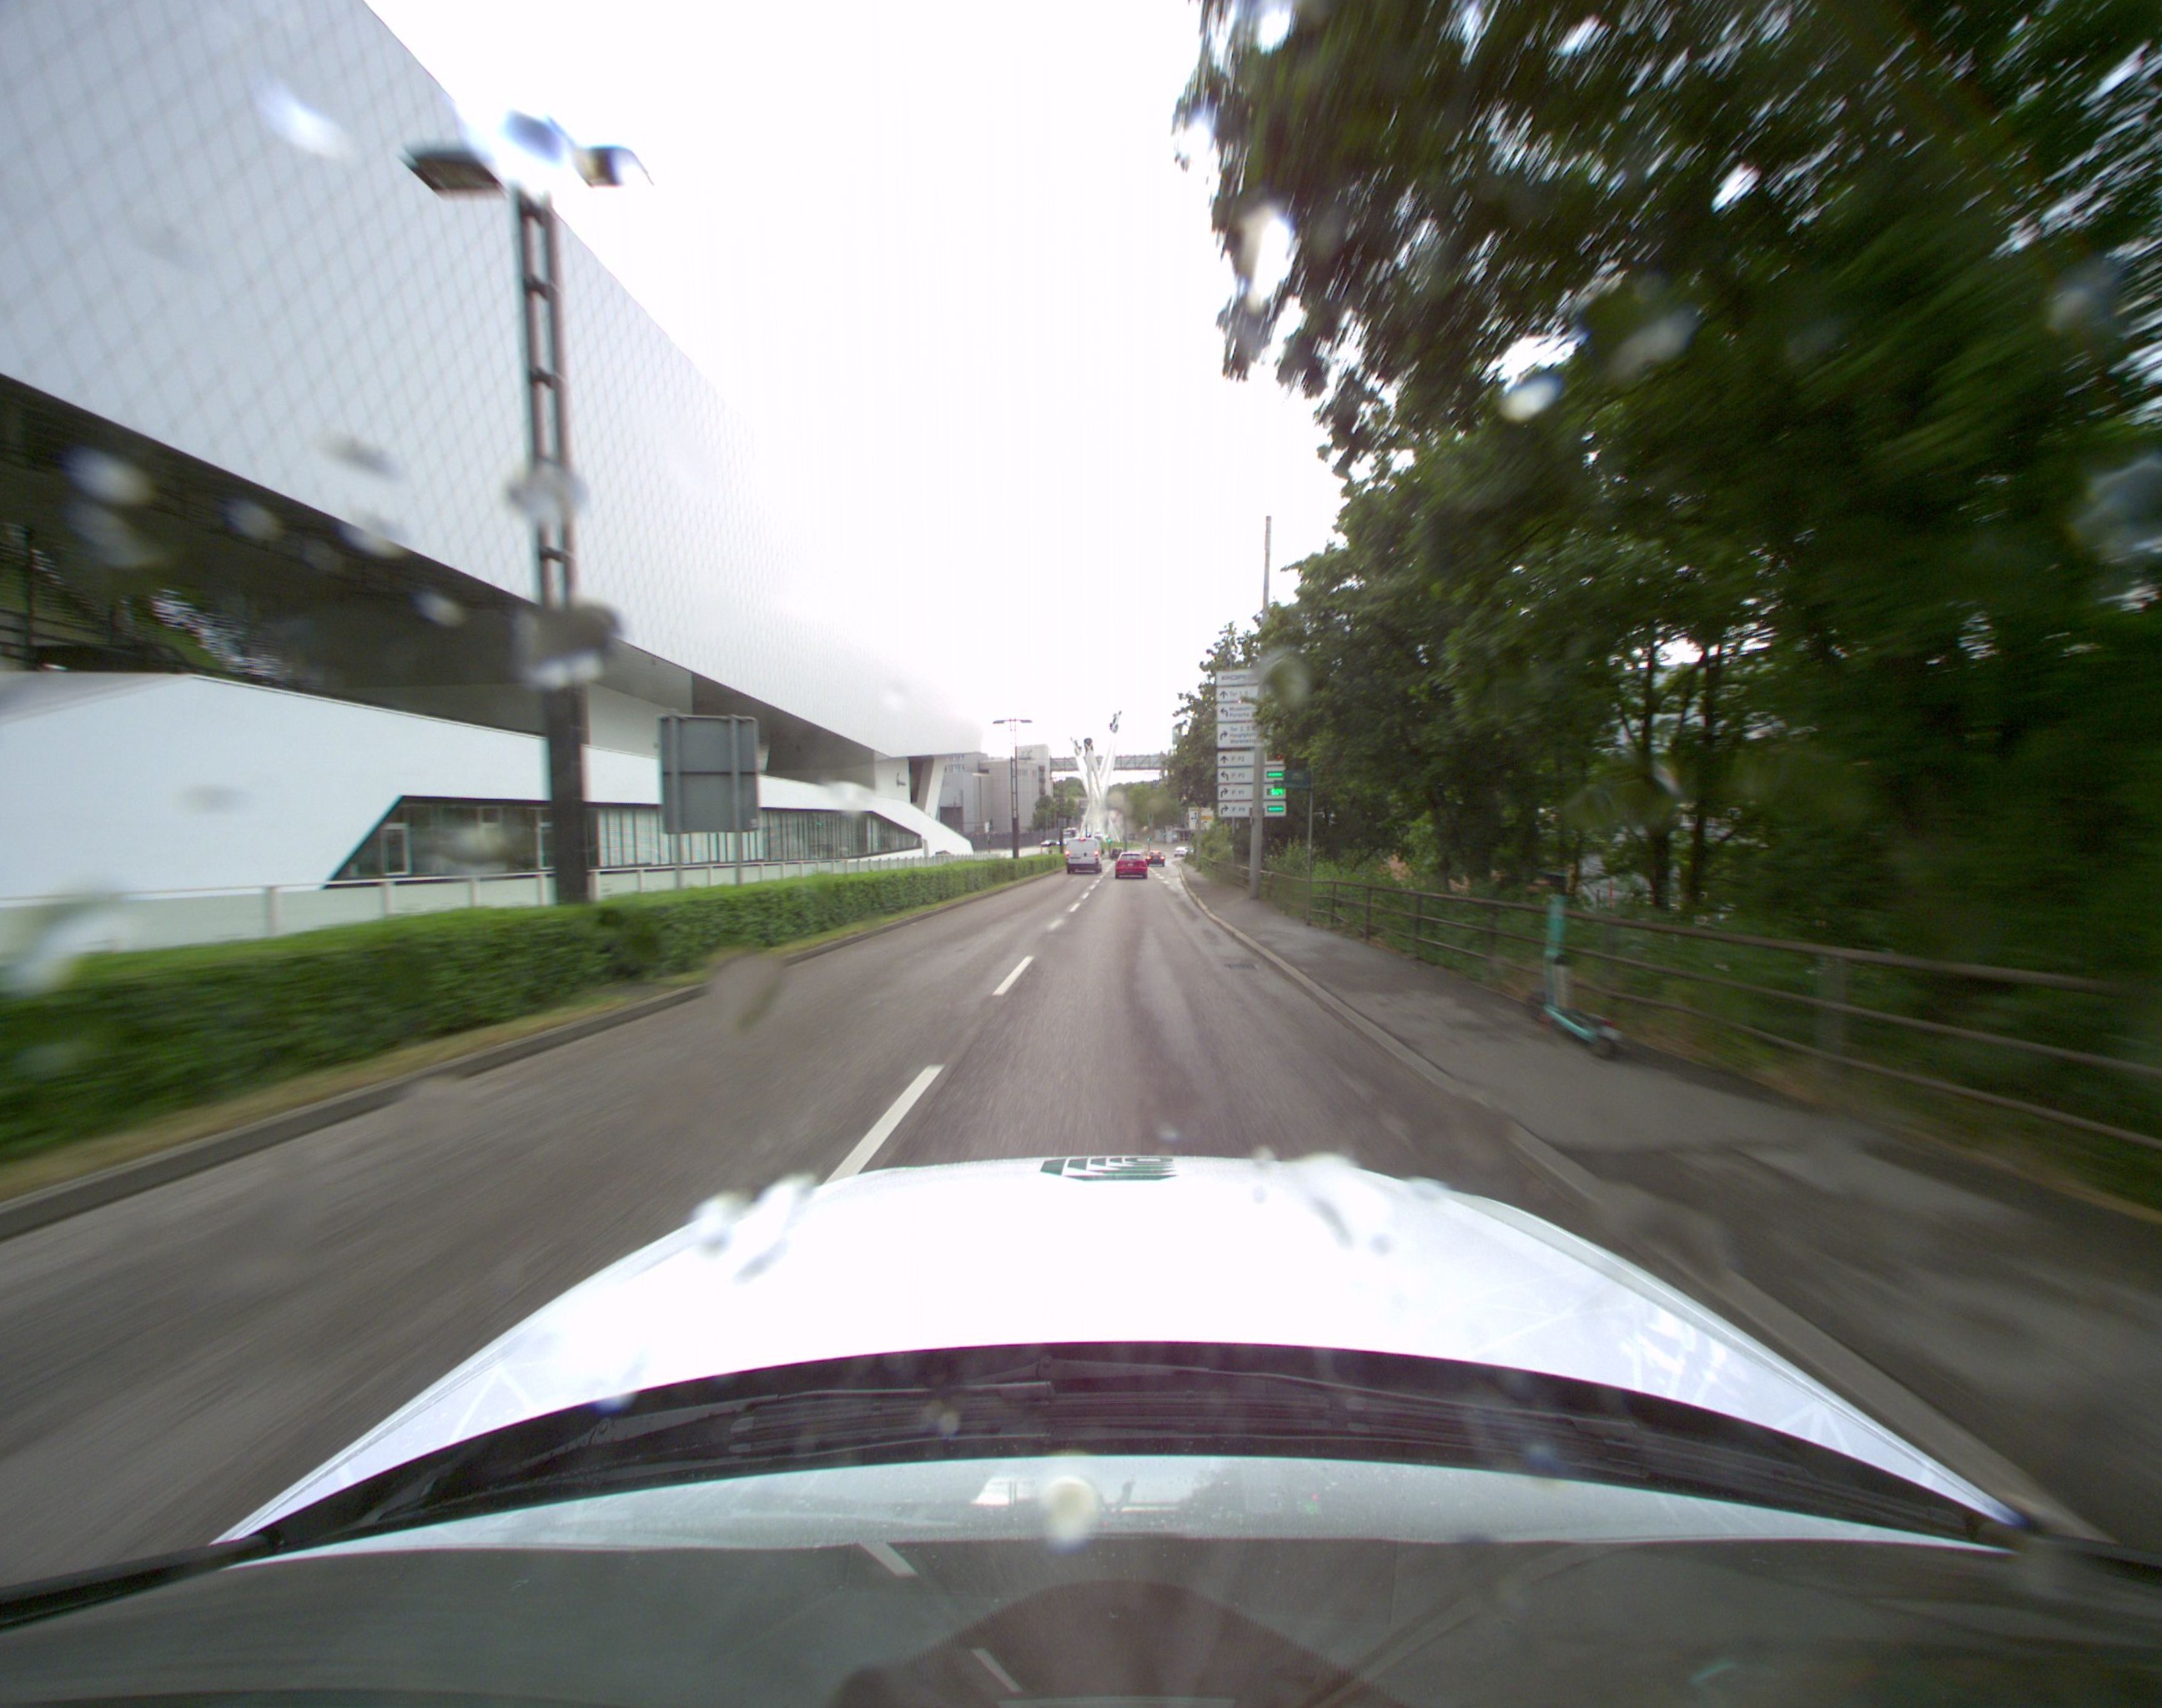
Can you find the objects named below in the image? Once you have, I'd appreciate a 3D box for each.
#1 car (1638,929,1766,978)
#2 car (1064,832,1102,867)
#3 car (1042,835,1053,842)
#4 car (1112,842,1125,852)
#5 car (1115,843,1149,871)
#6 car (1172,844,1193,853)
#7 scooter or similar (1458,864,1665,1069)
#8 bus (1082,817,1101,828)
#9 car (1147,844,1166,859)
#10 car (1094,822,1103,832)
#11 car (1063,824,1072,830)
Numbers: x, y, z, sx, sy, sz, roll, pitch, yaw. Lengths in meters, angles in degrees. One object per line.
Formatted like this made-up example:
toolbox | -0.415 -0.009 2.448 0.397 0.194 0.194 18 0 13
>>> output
car | 21.226 3.391 27.873 3.398 1.397 1.511 1 3 -9
car | 0.167 -0.320 52.773 2.224 2.107 4.958 0 1 2
car | -7.299 -3.343 176.540 1.824 1.472 4.521 0 2 5
car | 4.811 -0.932 103.995 1.550 1.288 3.417 0 1 3
car | 2.778 0.142 44.795 1.765 1.464 3.736 0 1 3
car | 14.869 -0.844 119.102 1.652 1.300 3.910 0 1 28
scooter or similar | 3.454 0.721 6.060 0.535 1.232 1.845 0 1 3
bus | 3.215 -9.222 240.720 2.649 3.200 12.724 1 2 16
car | 6.877 -0.270 74.814 1.603 1.291 3.570 0 1 3
car | 4.534 -6.973 206.772 1.984 2.446 5.435 -1 2 5
car | -3.264 -6.511 196.181 1.824 1.472 4.521 0 2 5
